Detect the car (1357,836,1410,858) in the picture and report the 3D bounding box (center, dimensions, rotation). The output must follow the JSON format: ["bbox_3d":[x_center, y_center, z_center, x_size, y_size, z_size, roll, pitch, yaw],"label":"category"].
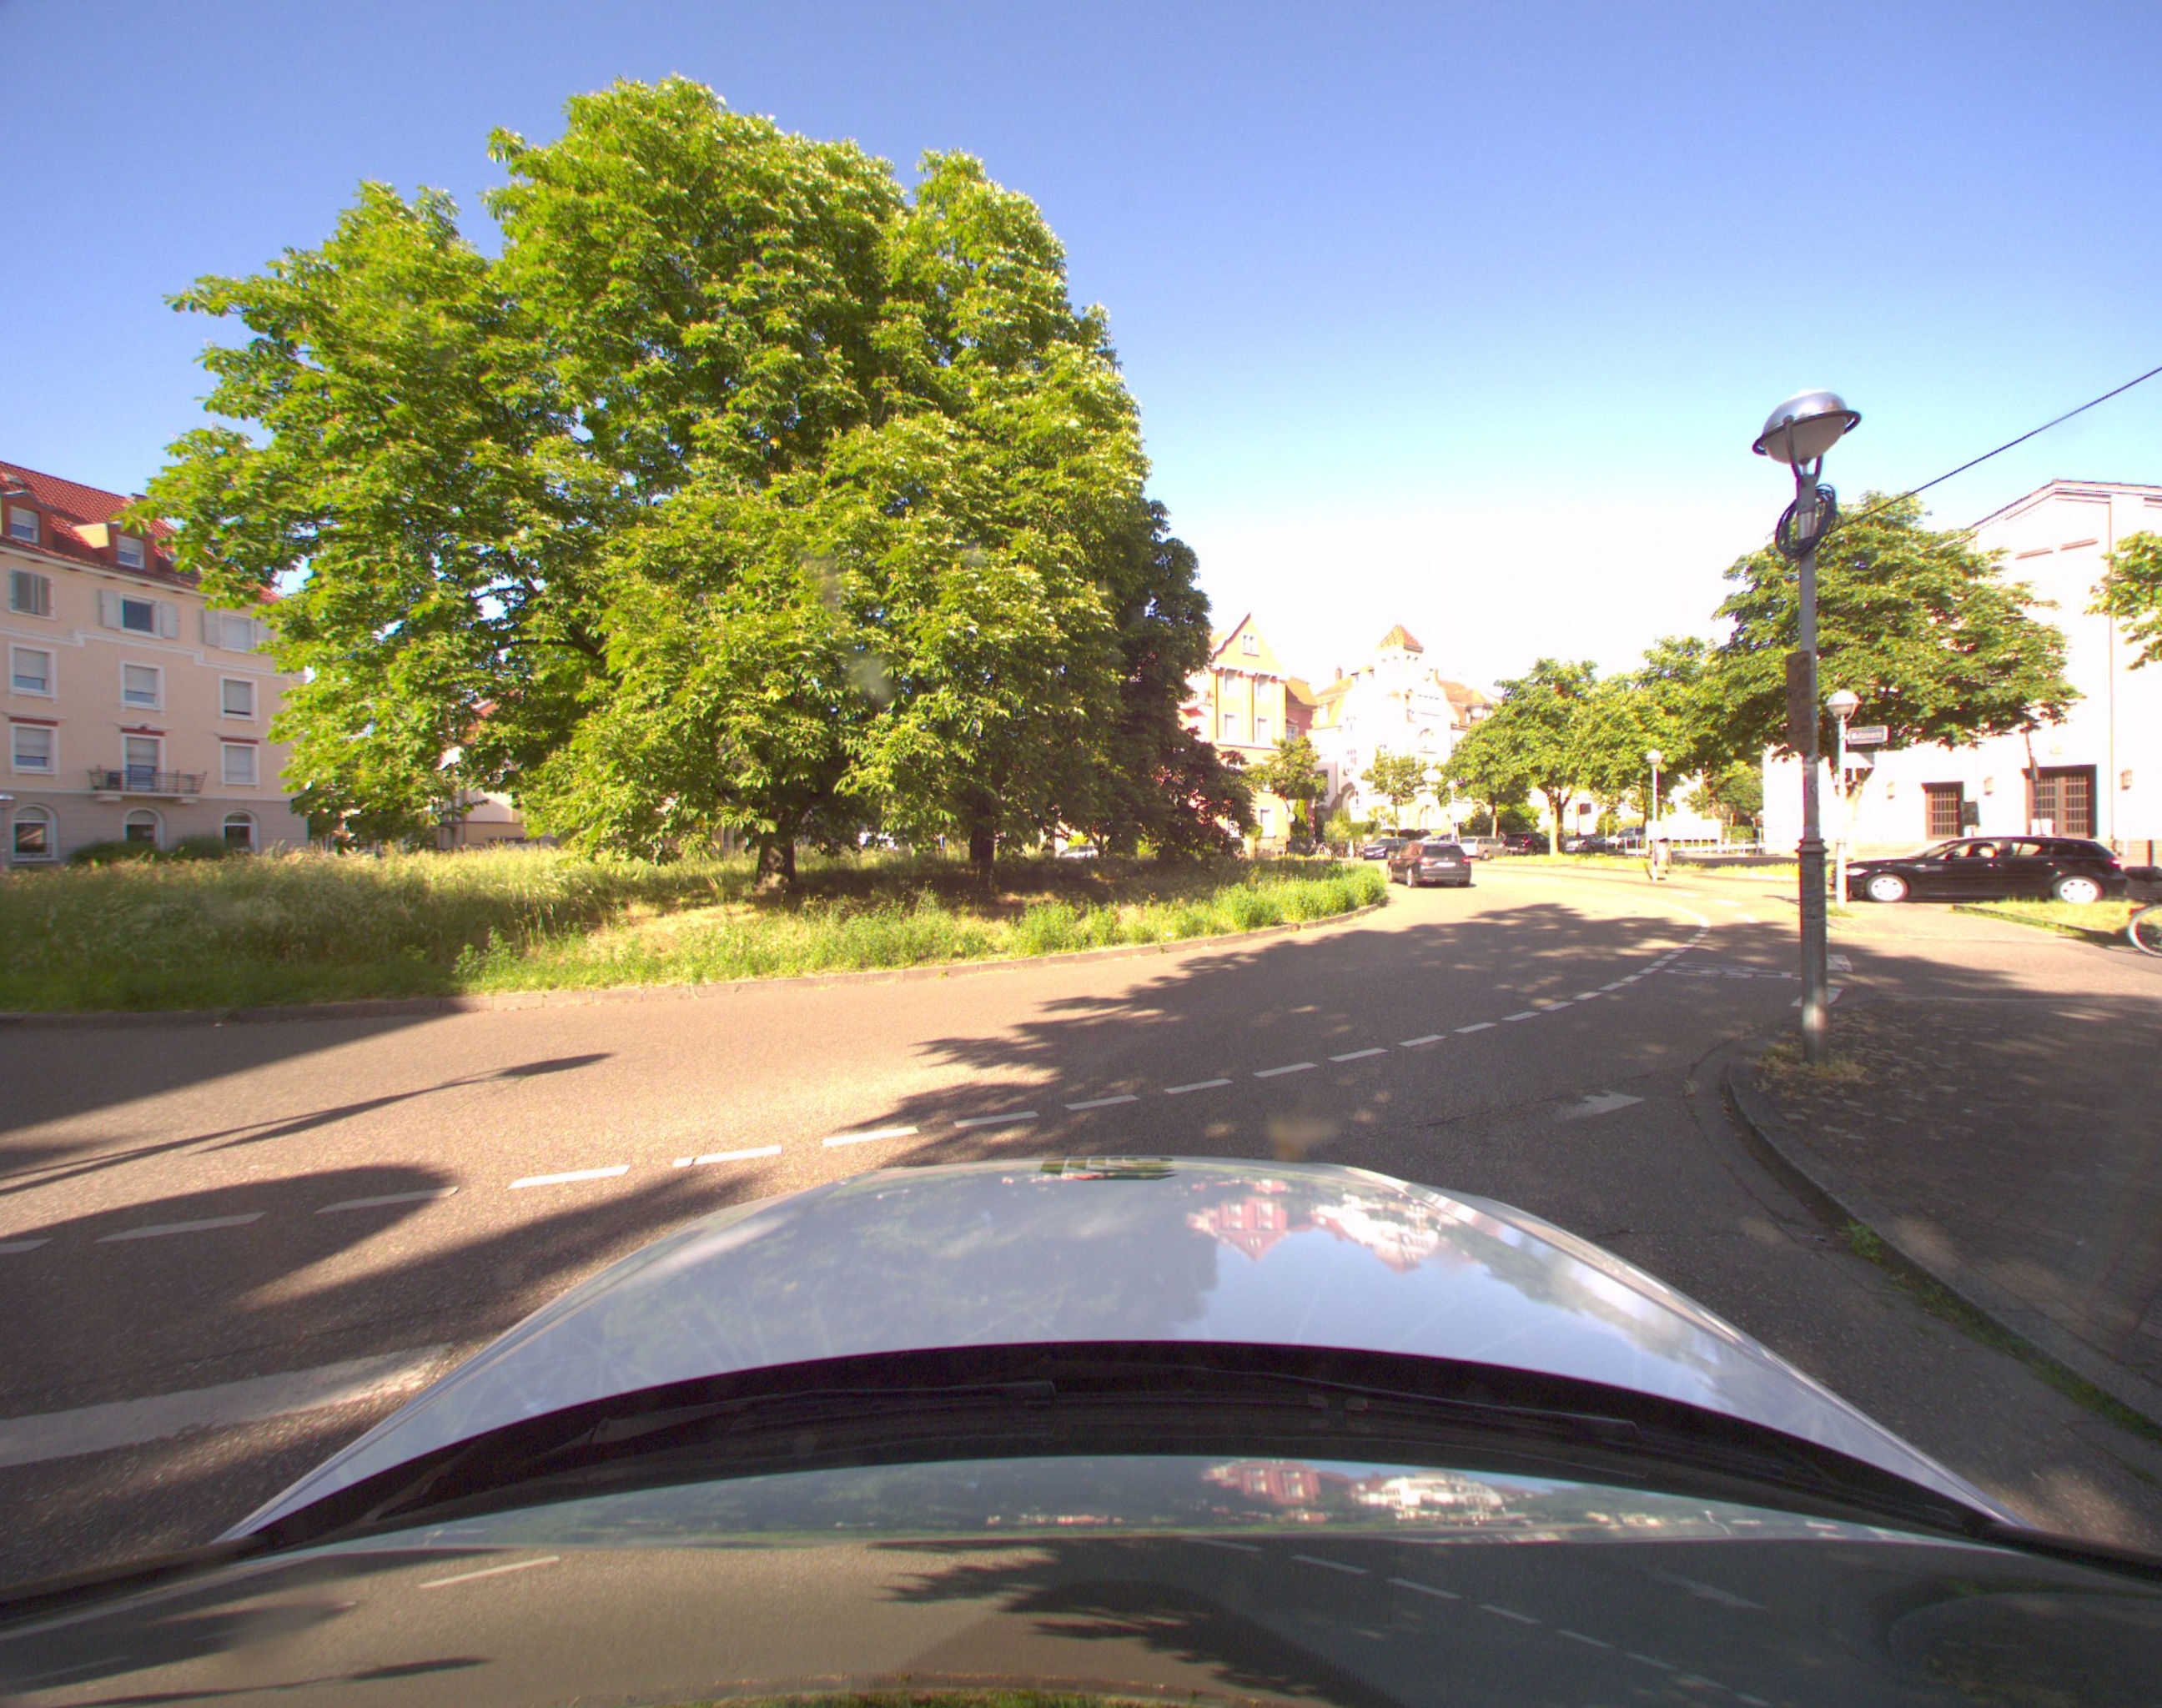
[{"bbox_3d":[20.333,-0.494,54.720,3.663,1.369,1.739,-2,1,-40],"label":"car"}]

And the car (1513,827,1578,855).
[{"bbox_3d":[25.324,-0.732,44.372,3.752,1.455,1.544,-2,1,-34],"label":"car"}]

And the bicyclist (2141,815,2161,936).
[{"bbox_3d":[12.852,0.251,9.311,0.508,1.416,0.741,-1,1,-2],"label":"bicyclist"}]

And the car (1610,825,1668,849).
[{"bbox_3d":[35.743,-1.064,52.162,3.798,1.455,1.777,-2,1,-34],"label":"car"}]

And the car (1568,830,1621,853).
[{"bbox_3d":[34.303,-0.855,54.400,3.469,1.436,1.644,-2,1,-32],"label":"car"}]

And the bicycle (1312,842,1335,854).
[{"bbox_3d":[16.737,-0.389,56.207,0.479,0.800,2.016,-1,1,-19],"label":"bicycle"}]

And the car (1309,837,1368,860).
[{"bbox_3d":[16.291,-0.370,51.423,3.662,1.369,1.740,-2,1,-38],"label":"car"}]

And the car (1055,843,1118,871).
[{"bbox_3d":[0.287,0.149,47.600,3.600,1.552,1.569,0,1,44],"label":"car"}]

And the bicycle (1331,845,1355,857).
[{"bbox_3d":[18.493,-0.228,57.494,0.478,0.822,2.275,-1,1,-14],"label":"bicycle"}]

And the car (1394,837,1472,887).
[{"bbox_3d":[11.497,0.216,26.825,1.702,1.483,4.161,-1,1,14],"label":"car"}]

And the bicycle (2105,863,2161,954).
[{"bbox_3d":[12.828,0.652,9.049,0.505,1.036,1.874,-1,1,-1],"label":"bicycle"}]

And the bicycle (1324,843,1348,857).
[{"bbox_3d":[17.743,-0.298,56.730,0.478,0.914,2.275,-1,1,-14],"label":"bicycle"}]

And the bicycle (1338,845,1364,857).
[{"bbox_3d":[19.152,-0.232,57.719,0.625,0.785,2.275,-1,1,-14],"label":"bicycle"}]

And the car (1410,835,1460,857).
[{"bbox_3d":[25.201,-0.545,57.964,3.490,1.488,1.653,-2,1,-35],"label":"car"}]

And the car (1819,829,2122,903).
[{"bbox_3d":[18.340,0.227,17.090,3.949,1.387,1.753,-1,1,30],"label":"car"}]

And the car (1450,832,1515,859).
[{"bbox_3d":[23.221,-0.523,47.058,3.992,1.455,1.544,-2,1,-34],"label":"car"}]

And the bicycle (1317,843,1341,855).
[{"bbox_3d":[17.162,-0.382,56.465,0.478,0.800,2.275,-1,1,-14],"label":"bicycle"}]
